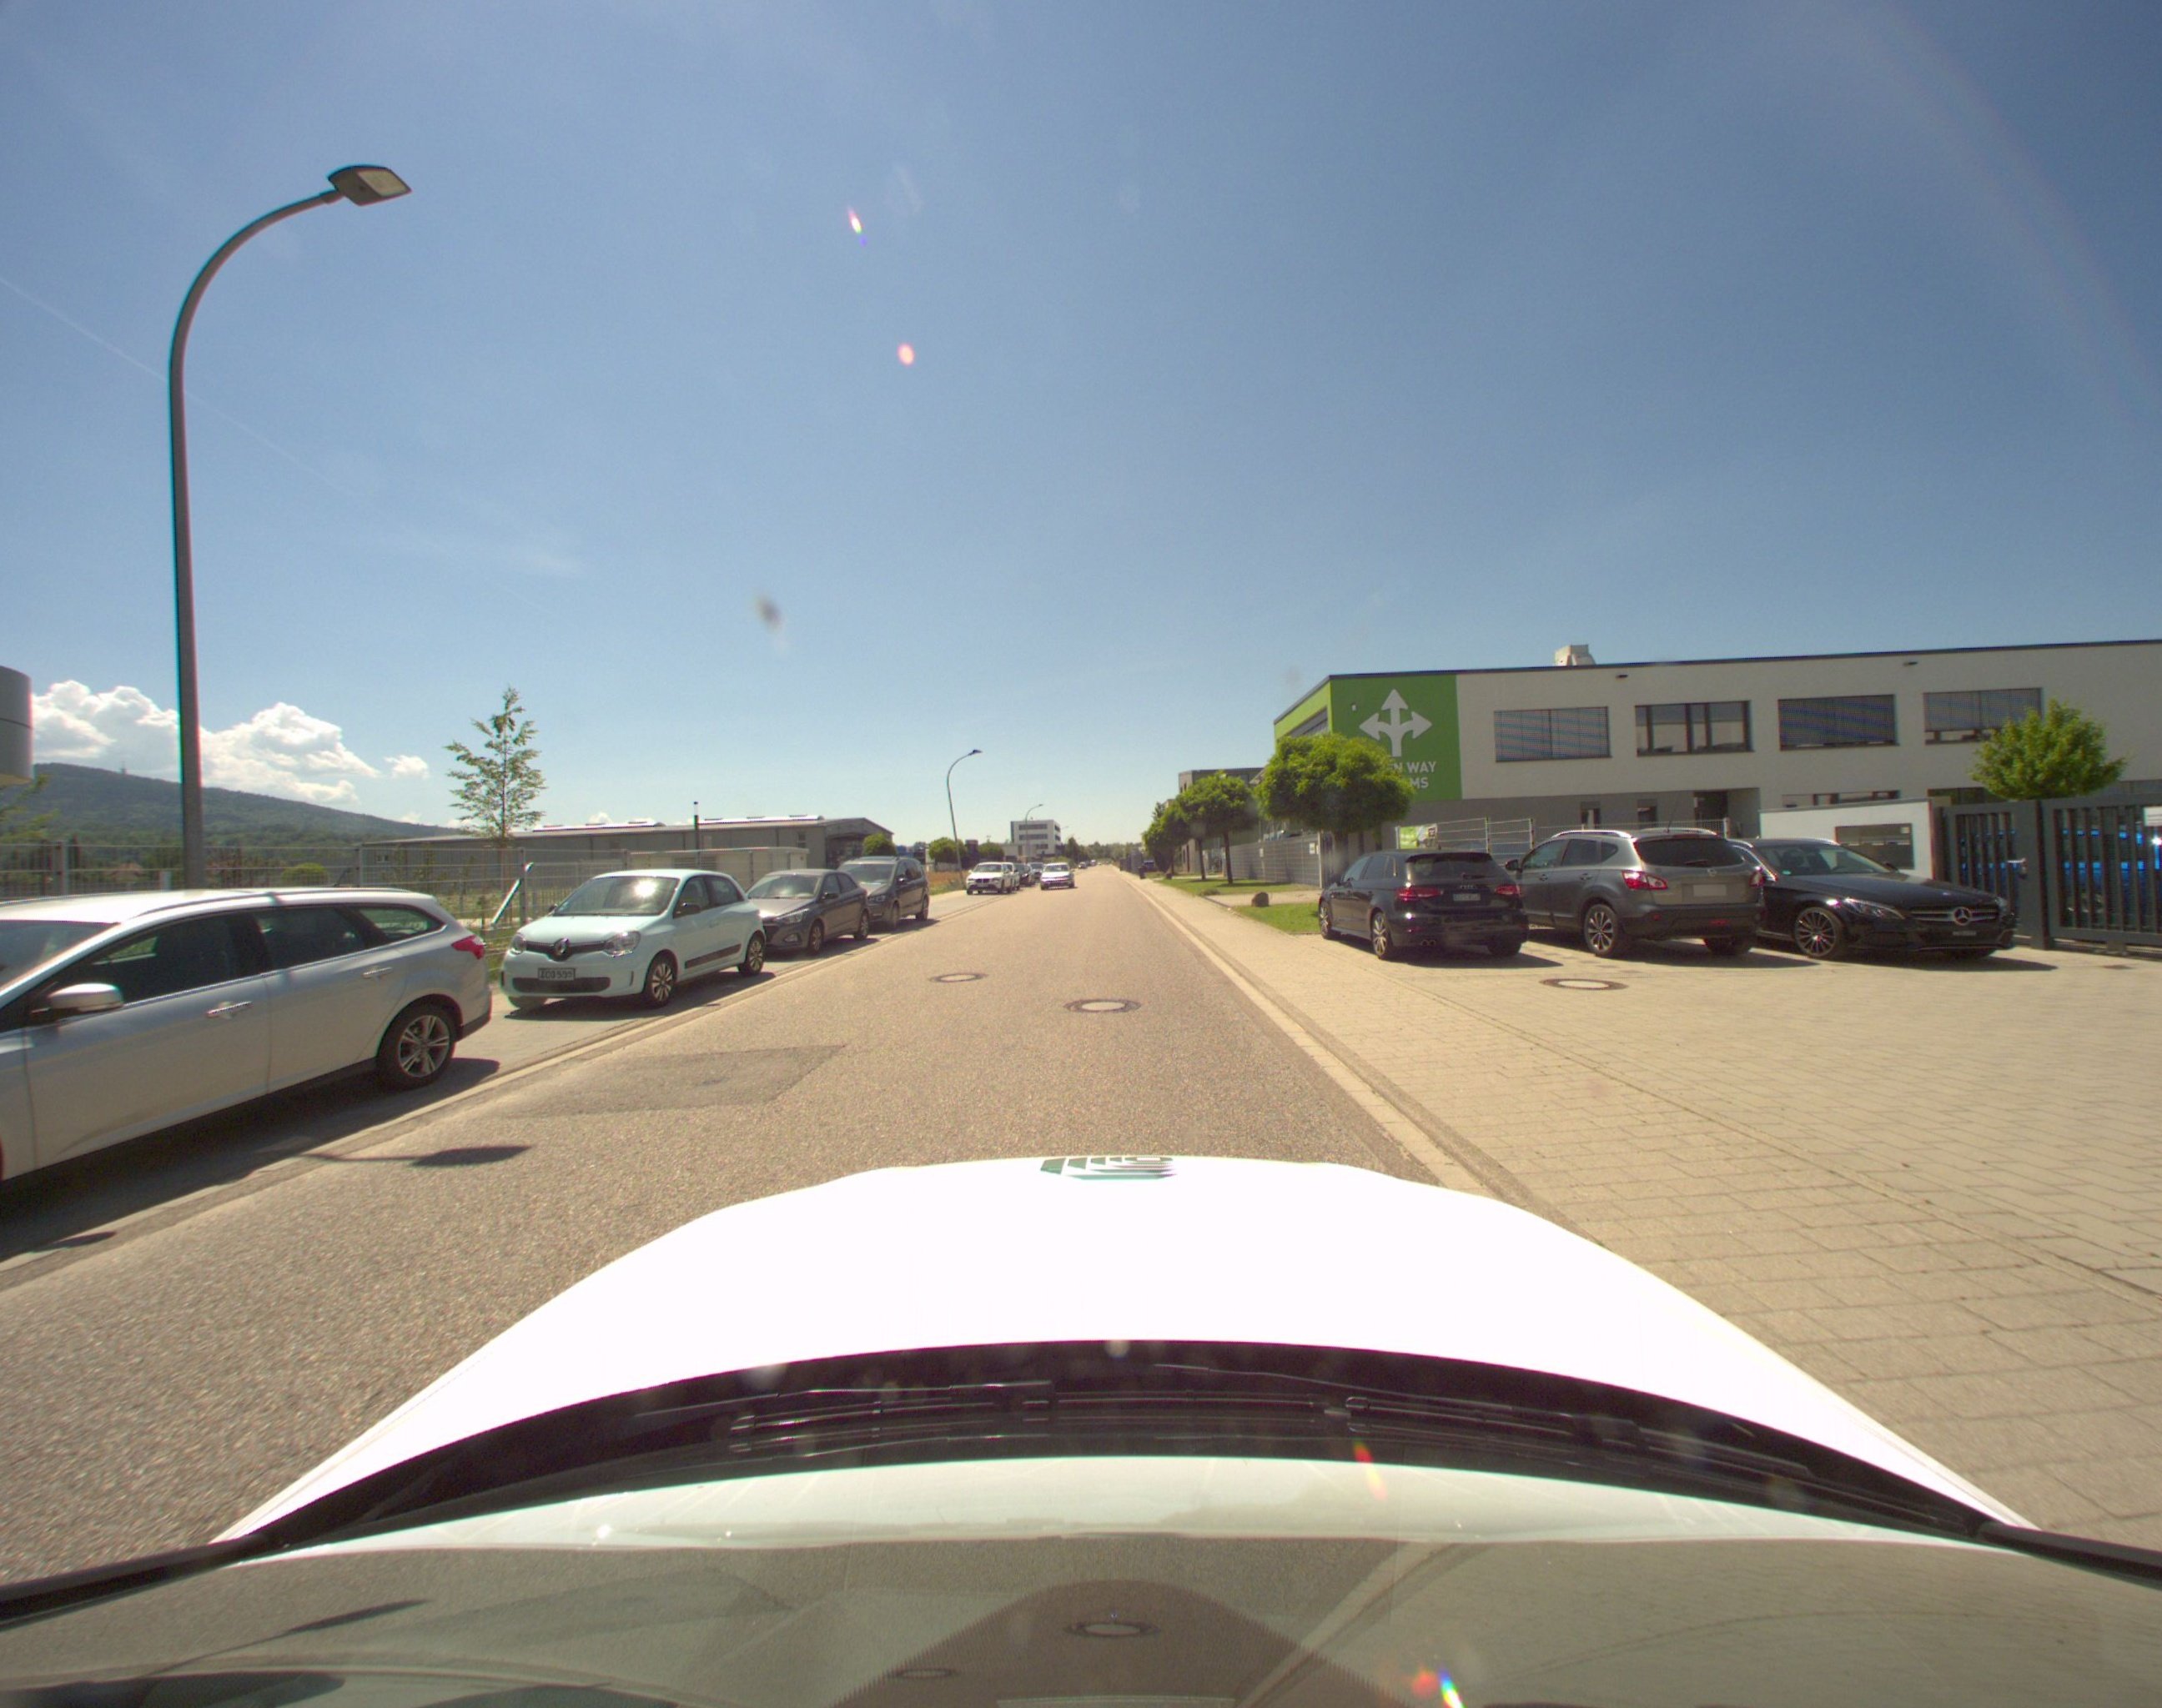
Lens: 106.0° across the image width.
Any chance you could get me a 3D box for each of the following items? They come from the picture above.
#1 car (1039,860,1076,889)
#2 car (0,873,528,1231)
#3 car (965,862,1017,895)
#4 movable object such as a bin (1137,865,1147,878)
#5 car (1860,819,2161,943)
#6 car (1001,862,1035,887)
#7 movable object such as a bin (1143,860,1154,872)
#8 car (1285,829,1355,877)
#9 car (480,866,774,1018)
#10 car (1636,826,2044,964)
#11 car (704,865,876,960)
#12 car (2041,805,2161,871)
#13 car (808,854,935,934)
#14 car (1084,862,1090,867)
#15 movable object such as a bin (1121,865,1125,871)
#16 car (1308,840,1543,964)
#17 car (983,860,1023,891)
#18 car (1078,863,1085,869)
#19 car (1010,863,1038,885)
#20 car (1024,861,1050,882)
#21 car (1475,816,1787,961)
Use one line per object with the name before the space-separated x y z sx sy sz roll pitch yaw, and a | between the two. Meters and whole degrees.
car | -1.291 1.091 45.701 1.698 1.411 4.785 -4 0 1
car | -5.680 0.939 4.760 1.697 1.536 4.572 -1 0 1
car | -4.409 1.173 40.564 1.779 1.542 4.368 -2 -1 3
movable object such as a bin | 4.594 1.332 61.161 0.549 0.928 0.523 -6 -2 11
car | 13.402 0.304 11.135 1.716 1.436 4.023 -1 0 2
car | -4.056 1.311 53.138 1.757 1.517 4.381 -1 -1 1
movable object such as a bin | 8.949 1.569 107.678 1.329 1.459 0.949 -3 -1 1
car | 14.043 -0.028 48.372 2.122 2.494 7.027 -4 -1 2
car | -5.465 0.946 10.386 1.629 1.536 3.658 -1 0 1
car | 9.543 0.454 10.785 1.716 1.449 4.023 -1 0 2
car | -5.270 0.988 15.306 1.628 1.500 3.974 -1 0 3
car | 24.972 -0.402 18.407 1.732 1.430 4.055 -2 -2 1
car | -5.038 0.891 20.243 1.796 1.719 4.624 -1 0 2
car | 1.894 3.212 252.510 1.638 1.490 3.208 -2 -1 2
movable object such as a bin | 7.678 2.537 149.541 0.549 0.928 0.522 -7 0 5
car | 4.684 0.581 11.796 1.686 1.428 4.247 -1 0 2
car | -4.353 1.183 45.884 1.781 1.656 3.768 -2 -1 1
car | 0.130 2.951 197.534 1.461 1.490 3.208 -2 -1 2
car | -4.088 1.419 59.047 1.758 1.451 4.198 -1 -1 -1
car | -3.577 1.428 66.560 1.784 1.607 4.463 -1 -1 1
car | 7.318 0.409 11.418 1.716 1.633 4.023 -1 0 2
